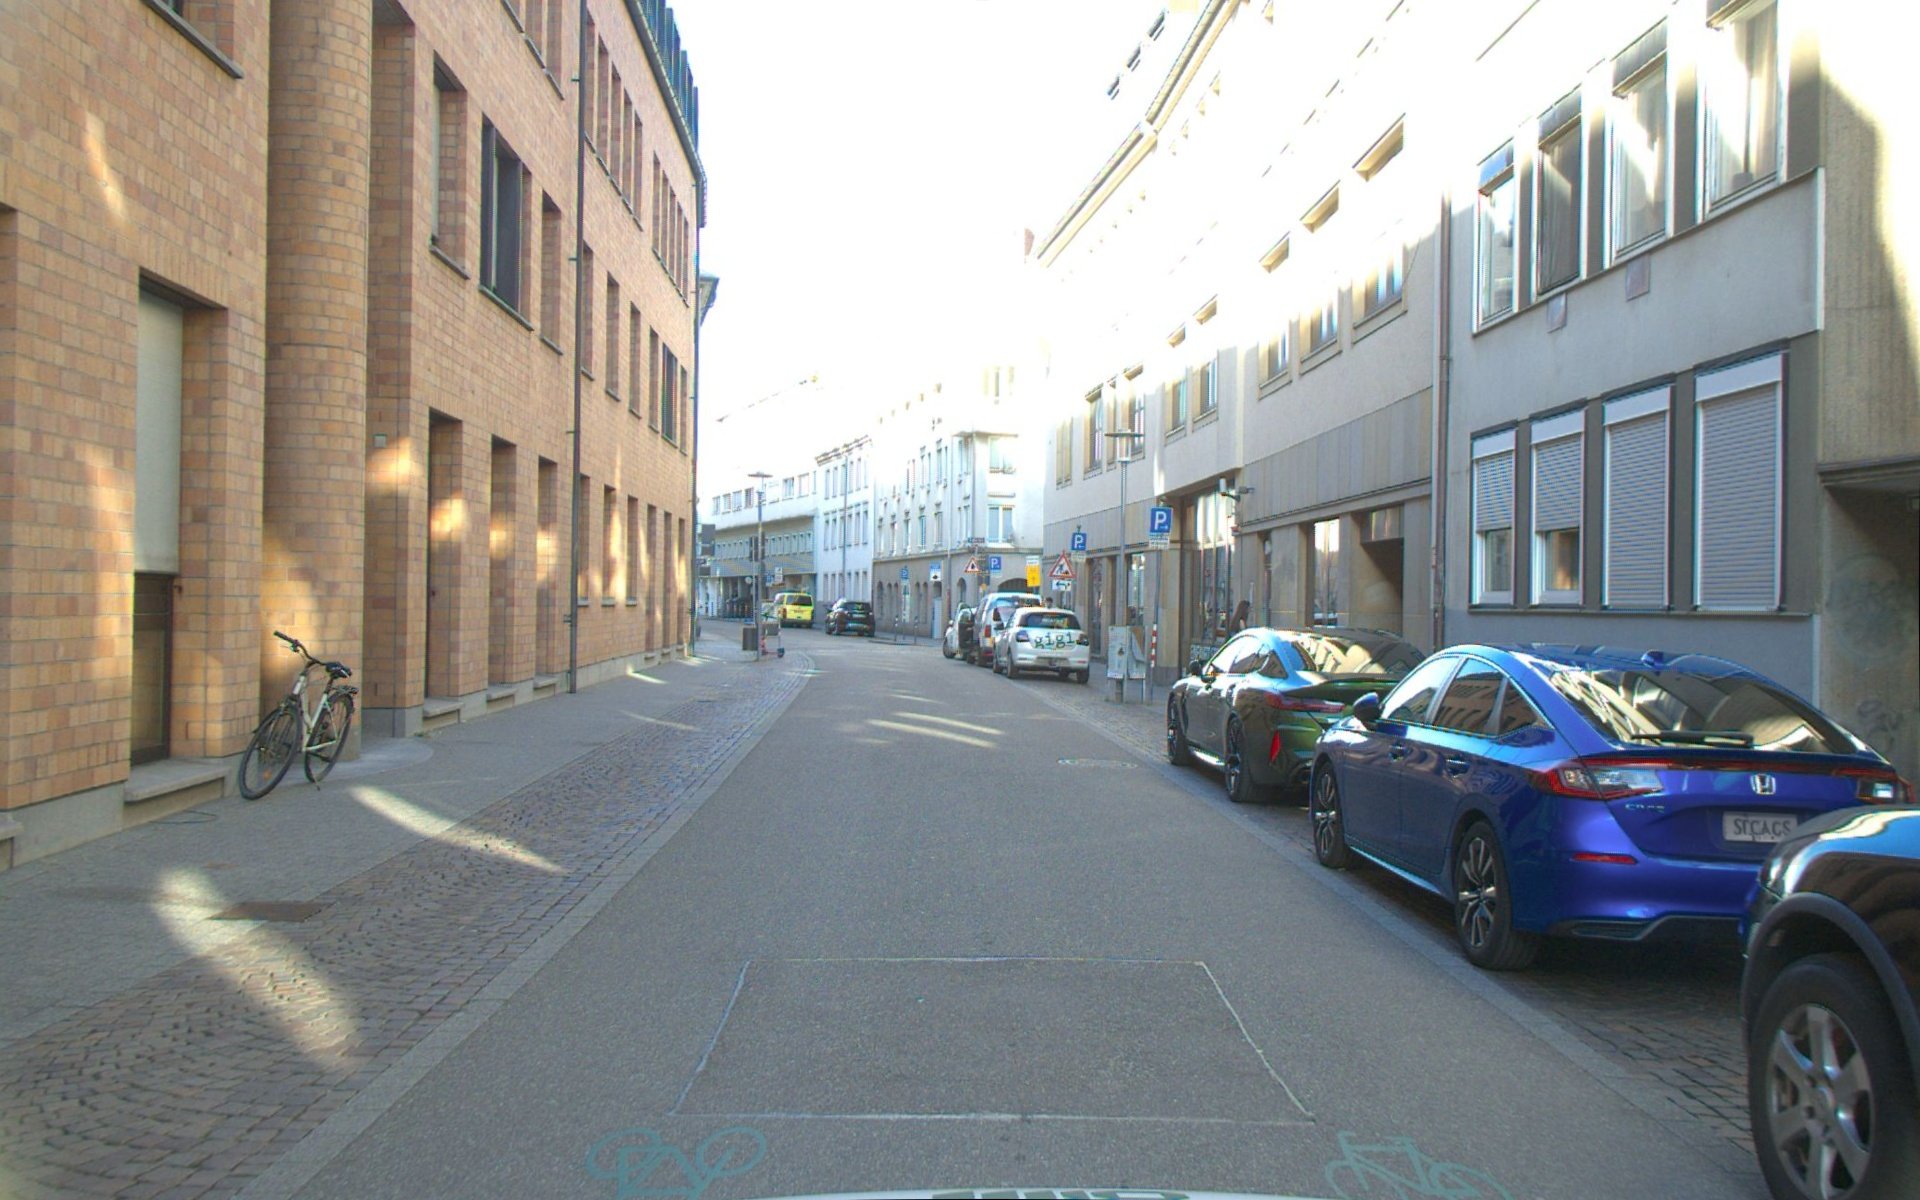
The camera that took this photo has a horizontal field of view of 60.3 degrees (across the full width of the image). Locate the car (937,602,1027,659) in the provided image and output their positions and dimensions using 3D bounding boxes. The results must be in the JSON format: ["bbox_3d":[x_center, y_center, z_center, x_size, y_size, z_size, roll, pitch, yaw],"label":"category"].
[{"bbox_3d":[0.589,0.850,48.114,1.854,1.545,4.053,1,0,-10],"label":"car"}]

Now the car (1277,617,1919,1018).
[{"bbox_3d":[3.145,0.882,8.842,1.771,1.437,4.788,3,0,-2],"label":"car"}]

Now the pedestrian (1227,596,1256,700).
[{"bbox_3d":[4.639,0.781,27.278,0.470,1.683,0.539,0,0,10],"label":"pedestrian"}]

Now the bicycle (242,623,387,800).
[{"bbox_3d":[-4.905,0.813,12.667,0.620,1.182,1.800,4,0,-10],"label":"bicycle"}]

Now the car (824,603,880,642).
[{"bbox_3d":[-5.093,1.028,77.660,1.934,1.721,4.087,2,0,-13],"label":"car"}]

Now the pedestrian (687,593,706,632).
[{"bbox_3d":[-12.114,0.565,76.001,0.754,1.755,0.683,1,0,-19],"label":"pedestrian"}]

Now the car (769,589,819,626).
[{"bbox_3d":[-9.435,0.415,93.660,2.021,2.049,4.154,1,0,-18],"label":"car"}]

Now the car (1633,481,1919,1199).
[{"bbox_3d":[3.169,0.678,2.661,2.060,1.817,5.051,2,0,0],"label":"car"}]

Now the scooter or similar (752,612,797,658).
[{"bbox_3d":[-5.139,0.951,45.822,0.683,1.239,1.357,0,0,22],"label":"scooter or similar"}]

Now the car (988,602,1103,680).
[{"bbox_3d":[1.787,0.845,35.938,1.805,1.504,4.162,3,0,-6],"label":"car"}]

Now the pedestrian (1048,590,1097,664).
[{"bbox_3d":[2.832,0.674,41.777,1.022,1.833,1.197,1,-1,-6],"label":"pedestrian"}]

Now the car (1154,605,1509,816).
[{"bbox_3d":[3.066,0.828,14.876,1.856,1.478,5.224,2,0,-2],"label":"car"}]

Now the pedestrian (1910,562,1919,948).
[{"bbox_3d":[4.719,0.695,7.135,0.772,1.751,0.746,-1,0,-1],"label":"pedestrian"}]

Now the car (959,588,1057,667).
[{"bbox_3d":[1.149,0.667,42.205,1.795,1.822,5.207,2,0,-6],"label":"car"}]
